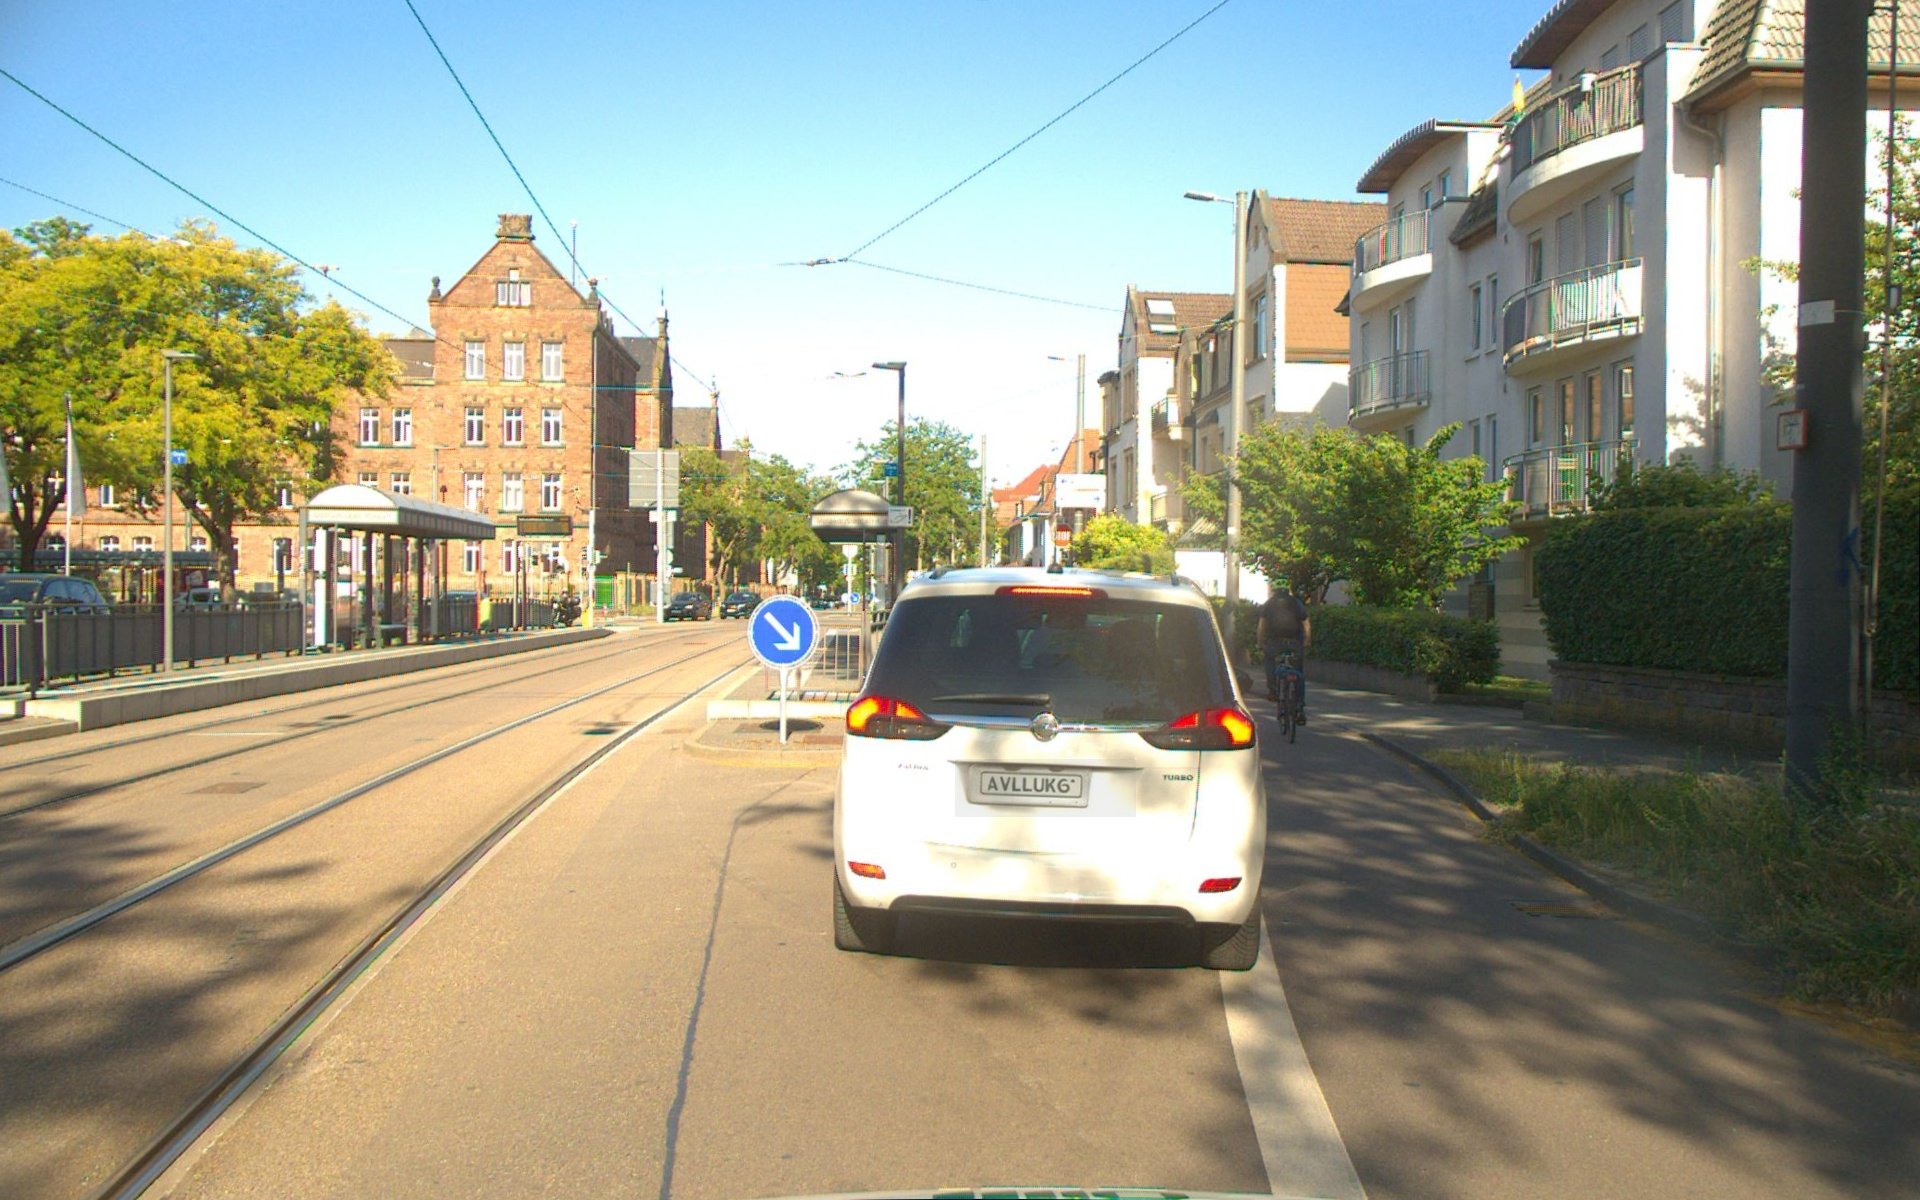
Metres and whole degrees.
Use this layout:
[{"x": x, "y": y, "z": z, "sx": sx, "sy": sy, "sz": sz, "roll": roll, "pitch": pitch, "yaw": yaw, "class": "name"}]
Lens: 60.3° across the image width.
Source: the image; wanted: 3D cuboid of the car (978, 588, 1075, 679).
[{"x": 1.252, "y": 0.627, "z": 32.446, "sx": 1.739, "sy": 1.660, "sz": 3.880, "roll": 1, "pitch": 0, "yaw": 0, "class": "car"}]

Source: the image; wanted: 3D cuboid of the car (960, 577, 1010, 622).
[{"x": 0.917, "y": -0.008, "z": 62.938, "sx": 1.740, "sy": 1.660, "sz": 3.879, "roll": 1, "pitch": 0, "yaw": -1, "class": "car"}]

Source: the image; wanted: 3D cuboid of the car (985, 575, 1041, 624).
[{"x": 1.849, "y": -0.010, "z": 58.687, "sx": 1.740, "sy": 1.660, "sz": 3.879, "roll": 1, "pitch": 0, "yaw": -1, "class": "car"}]

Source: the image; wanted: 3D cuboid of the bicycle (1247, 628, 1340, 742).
[{"x": 3.675, "y": 0.915, "z": 18.357, "sx": 0.671, "sy": 1.177, "sz": 1.619, "roll": 1, "pitch": 0, "yaw": -1, "class": "bicycle"}]

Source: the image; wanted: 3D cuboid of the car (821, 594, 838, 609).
[{"x": -15.715, "y": 0.171, "z": 199.038, "sx": 1.868, "sy": 1.706, "sz": 4.355, "roll": 1, "pitch": 0, "yaw": -3, "class": "car"}]

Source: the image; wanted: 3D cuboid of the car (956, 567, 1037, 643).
[{"x": 0.810, "y": 0.122, "z": 39.100, "sx": 1.740, "sy": 1.660, "sz": 3.879, "roll": 1, "pitch": 0, "yaw": -1, "class": "car"}]

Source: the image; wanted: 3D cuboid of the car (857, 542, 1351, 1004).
[{"x": 0.450, "y": 0.647, "z": 8.019, "sx": 1.798, "sy": 1.670, "sz": 3.916, "roll": 1, "pitch": 0, "yaw": -3, "class": "car"}]

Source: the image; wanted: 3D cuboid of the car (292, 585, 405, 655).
[{"x": -15.415, "y": 0.459, "z": 41.888, "sx": 1.762, "sy": 1.666, "sz": 4.112, "roll": -1, "pitch": 0, "yaw": -7, "class": "car"}]

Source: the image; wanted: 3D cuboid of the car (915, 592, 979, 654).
[{"x": -0.371, "y": 0.634, "z": 47.405, "sx": 1.740, "sy": 1.660, "sz": 3.880, "roll": 1, "pitch": 0, "yaw": -1, "class": "car"}]

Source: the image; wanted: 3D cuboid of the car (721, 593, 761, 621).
[{"x": -13.259, "y": 0.425, "z": 100.334, "sx": 1.953, "sy": 1.573, "sz": 3.999, "roll": 1, "pitch": 0, "yaw": -1, "class": "car"}]

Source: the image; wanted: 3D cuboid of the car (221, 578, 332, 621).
[{"x": -28.169, "y": -0.031, "z": 68.243, "sx": 3.780, "sy": 1.689, "sz": 1.750, "roll": 1, "pitch": 0, "yaw": -1, "class": "car"}]

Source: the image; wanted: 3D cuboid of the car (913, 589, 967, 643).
[{"x": -0.695, "y": 0.519, "z": 55.789, "sx": 1.740, "sy": 1.722, "sz": 3.879, "roll": 1, "pitch": 0, "yaw": -1, "class": "car"}]

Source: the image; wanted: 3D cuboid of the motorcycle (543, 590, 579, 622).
[{"x": -16.341, "y": 0.230, "z": 67.769, "sx": 1.108, "sy": 1.265, "sz": 2.569, "roll": 1, "pitch": 0, "yaw": -7, "class": "motorcycle"}]

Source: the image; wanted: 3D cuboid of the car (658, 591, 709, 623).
[{"x": -14.181, "y": 0.344, "z": 84.948, "sx": 1.953, "sy": 1.573, "sz": 3.999, "roll": 1, "pitch": 0, "yaw": -1, "class": "car"}]

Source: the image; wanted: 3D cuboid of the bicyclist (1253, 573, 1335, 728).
[{"x": 3.682, "y": 0.546, "z": 18.303, "sx": 0.672, "sy": 1.663, "sz": 1.015, "roll": 1, "pitch": 0, "yaw": -1, "class": "bicyclist"}]

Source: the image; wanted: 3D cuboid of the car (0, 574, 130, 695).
[{"x": -13.997, "y": 0.464, "z": 24.352, "sx": 1.884, "sy": 1.645, "sz": 4.111, "roll": 0, "pitch": 0, "yaw": -7, "class": "car"}]

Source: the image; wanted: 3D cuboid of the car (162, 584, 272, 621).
[{"x": -32.859, "y": 0.119, "z": 73.208, "sx": 3.982, "sy": 1.548, "sz": 1.877, "roll": 1, "pitch": 0, "yaw": -1, "class": "car"}]

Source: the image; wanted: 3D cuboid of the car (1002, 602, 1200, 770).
[{"x": 1.290, "y": 0.754, "z": 16.461, "sx": 1.554, "sy": 1.445, "sz": 3.899, "roll": 0, "pitch": 0, "yaw": -1, "class": "car"}]

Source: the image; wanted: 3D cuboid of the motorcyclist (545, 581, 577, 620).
[{"x": -16.326, "y": 0.027, "z": 67.715, "sx": 1.103, "sy": 1.552, "sz": 1.053, "roll": 1, "pitch": 0, "yaw": -7, "class": "motorcyclist"}]

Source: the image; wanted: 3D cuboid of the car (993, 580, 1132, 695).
[{"x": 1.550, "y": 0.558, "z": 26.310, "sx": 1.740, "sy": 1.660, "sz": 3.878, "roll": 1, "pitch": 0, "yaw": -3, "class": "car"}]
